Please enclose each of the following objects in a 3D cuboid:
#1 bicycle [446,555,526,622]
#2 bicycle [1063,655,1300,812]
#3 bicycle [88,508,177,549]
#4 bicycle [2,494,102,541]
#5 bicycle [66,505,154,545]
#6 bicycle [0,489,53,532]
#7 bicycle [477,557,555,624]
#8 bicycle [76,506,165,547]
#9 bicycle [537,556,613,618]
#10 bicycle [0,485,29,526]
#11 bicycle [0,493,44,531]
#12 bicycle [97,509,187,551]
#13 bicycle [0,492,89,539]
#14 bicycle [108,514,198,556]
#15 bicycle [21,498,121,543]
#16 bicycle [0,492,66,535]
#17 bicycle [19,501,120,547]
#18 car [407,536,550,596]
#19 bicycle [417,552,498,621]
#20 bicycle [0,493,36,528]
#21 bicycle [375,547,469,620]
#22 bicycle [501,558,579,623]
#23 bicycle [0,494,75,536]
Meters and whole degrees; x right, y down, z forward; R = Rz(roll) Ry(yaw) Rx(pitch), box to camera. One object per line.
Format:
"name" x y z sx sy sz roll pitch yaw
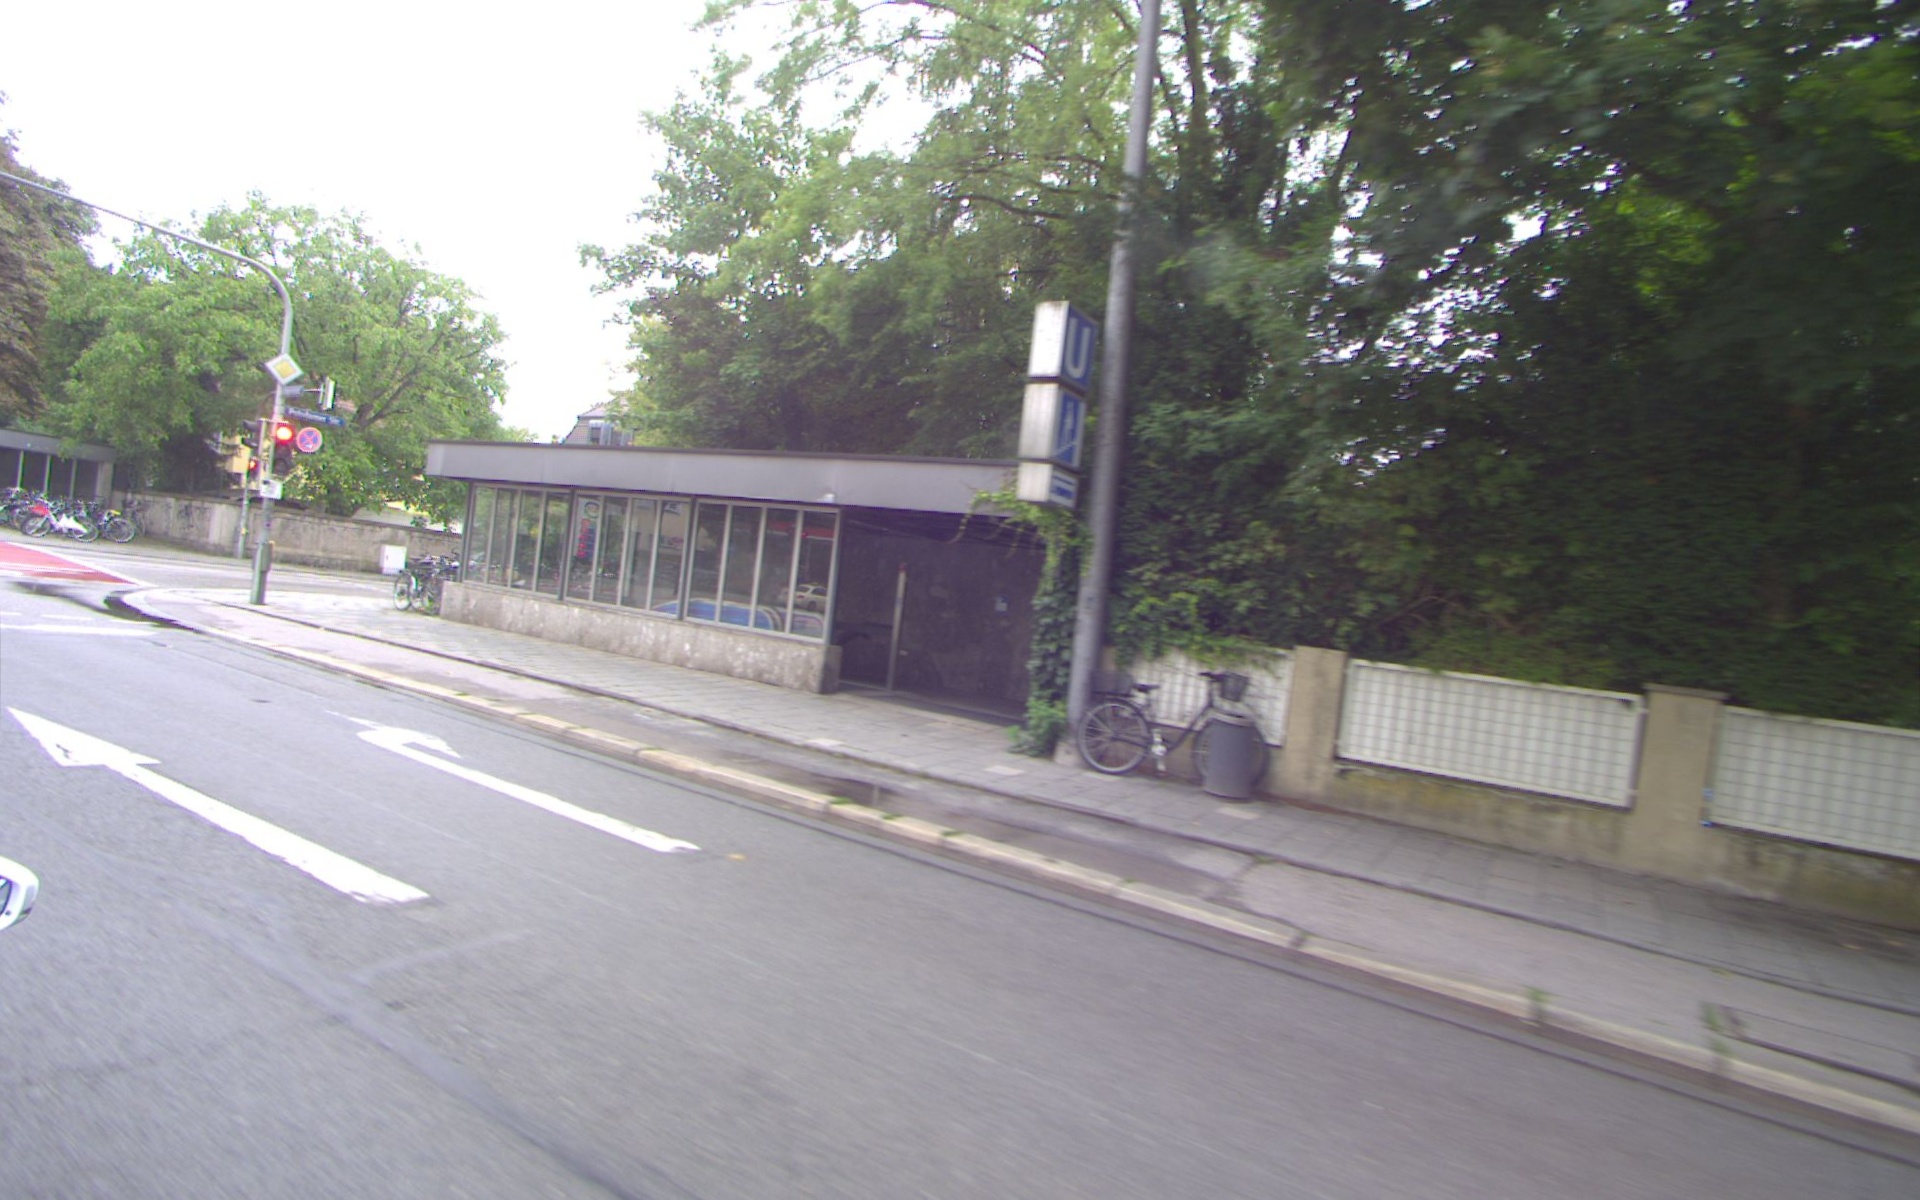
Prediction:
"bicycle" -9.202 -0.232 19.499 1.707 1.135 0.469 6 0 33
"bicycle" 2.071 1.213 9.542 1.992 1.104 0.623 7 1 32
"bicycle" -27.473 -2.360 33.446 0.625 1.026 2.141 8 0 40
"bicycle" -27.835 -2.511 30.877 0.594 1.084 2.141 8 0 40
"bicycle" -28.846 -2.532 34.163 0.625 1.026 2.141 8 0 40
"bicycle" -30.395 -2.915 31.998 0.594 1.192 2.141 8 0 40
"bicycle" -8.857 -0.199 20.043 1.707 1.135 0.469 6 0 33
"bicycle" -28.170 -2.448 33.795 0.625 1.026 2.141 8 0 40
"bicycle" -8.113 -0.284 21.193 1.707 1.135 0.469 6 0 33
"bicycle" -32.282 -3.246 33.208 0.594 1.233 2.141 8 0 40
"bicycle" -30.997 -2.928 32.342 0.594 1.075 2.141 8 0 40
"bicycle" -26.842 -2.288 33.037 0.625 1.026 2.141 8 0 40
"bicycle" -28.445 -2.613 31.105 0.594 1.114 2.141 8 0 40
"bicycle" -26.170 -2.104 32.662 0.625 1.026 2.141 8 0 40
"bicycle" -27.056 -2.397 30.641 0.625 1.026 2.141 8 0 40
"bicycle" -29.724 -2.781 31.722 0.594 1.099 2.141 8 0 40
"bicycle" -26.659 -2.255 30.145 0.594 1.026 2.141 8 0 40
"car" -16.990 -1.179 35.642 1.669 1.532 4.169 7 0 37
"bicycle" -9.505 -0.264 19.005 1.707 1.135 0.469 6 0 33
"bicycle" -31.707 -3.029 32.831 0.594 1.026 2.141 8 0 40
"bicycle" -9.897 -0.318 18.478 1.859 1.135 0.600 6 0 33
"bicycle" -8.568 -0.199 20.507 1.707 1.135 0.469 6 0 33
"bicycle" -29.106 -2.667 31.372 0.594 1.026 2.141 8 0 40
